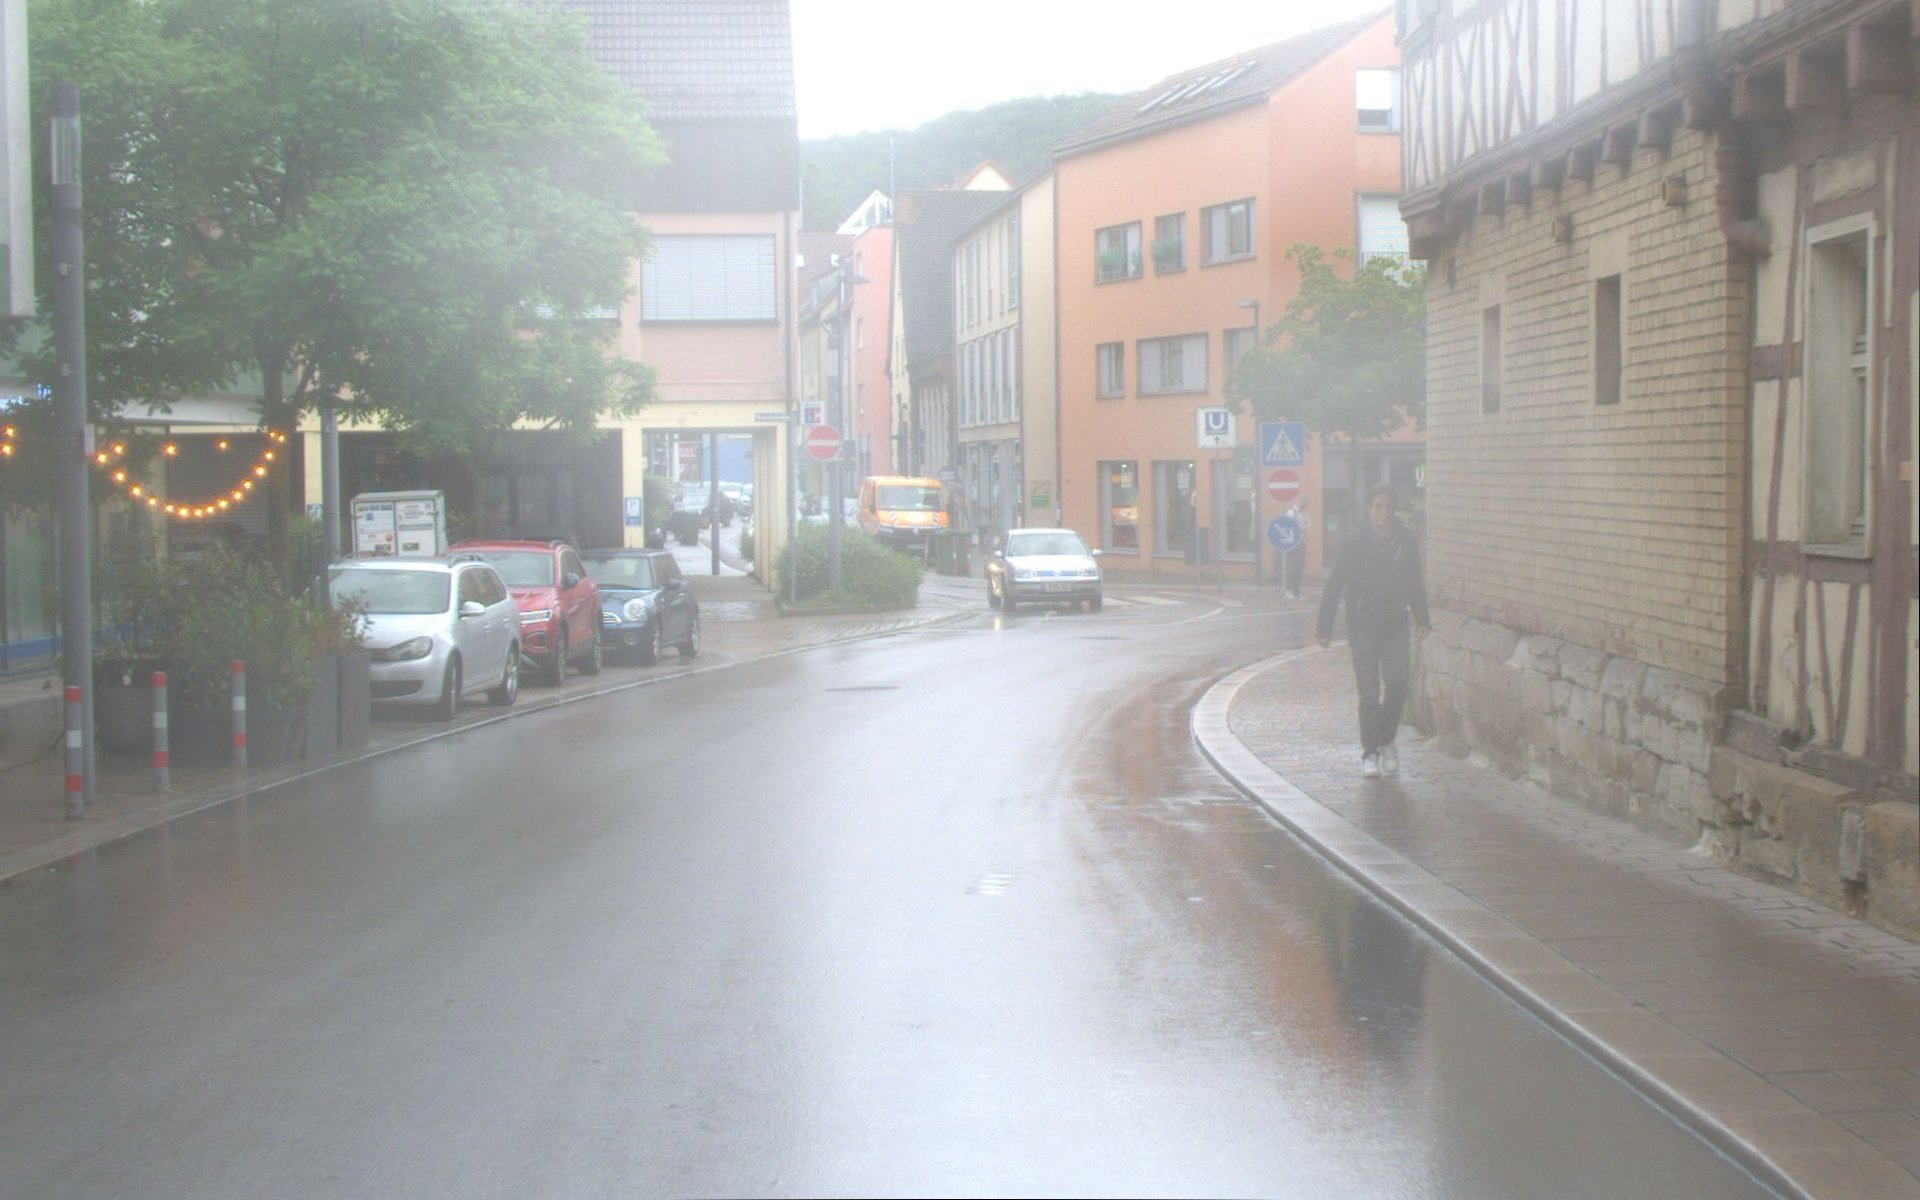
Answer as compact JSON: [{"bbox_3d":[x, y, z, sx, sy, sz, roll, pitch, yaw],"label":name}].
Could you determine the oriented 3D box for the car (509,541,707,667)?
[{"bbox_3d":[-4.386,0.015,43.367,1.715,1.453,3.909,0,2,6],"label":"car"}]

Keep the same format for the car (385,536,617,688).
[{"bbox_3d":[-5.105,0.088,38.707,1.787,1.571,4.107,-1,1,4],"label":"car"}]

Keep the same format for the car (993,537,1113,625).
[{"bbox_3d":[1.623,-0.366,61.091,1.790,1.412,4.029,-3,1,-2],"label":"car"}]

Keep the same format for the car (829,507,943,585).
[{"bbox_3d":[-1.464,-1.065,66.554,1.714,1.453,3.911,0,2,-8],"label":"car"}]

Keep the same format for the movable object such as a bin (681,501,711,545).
[{"bbox_3d":[-8.448,-2.477,109.960,0.834,1.377,0.854,-1,2,-10],"label":"movable object such as a bin"}]

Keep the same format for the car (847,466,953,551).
[{"bbox_3d":[-1.644,-2.441,92.249,2.103,2.139,4.868,-3,2,-9],"label":"car"}]

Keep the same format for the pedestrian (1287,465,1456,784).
[{"bbox_3d":[2.512,0.137,21.078,0.810,1.878,0.908,-3,1,-3],"label":"pedestrian"}]

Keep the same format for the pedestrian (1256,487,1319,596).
[{"bbox_3d":[5.776,-1.040,60.633,0.862,1.908,0.757,0,2,29],"label":"pedestrian"}]

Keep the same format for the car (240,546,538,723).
[{"bbox_3d":[-5.305,0.270,32.498,1.787,1.493,4.454,-1,1,4],"label":"car"}]

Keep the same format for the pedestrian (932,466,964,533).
[{"bbox_3d":[-0.363,-3.058,104.271,0.866,2.006,0.708,-1,2,-9],"label":"pedestrian"}]

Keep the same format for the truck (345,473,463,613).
[{"bbox_3d":[-9.473,-1.009,58.728,1.596,2.055,3.194,-3,6,-4],"label":"truck"}]

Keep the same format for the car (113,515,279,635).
[{"bbox_3d":[-12.791,-0.455,57.787,1.812,1.612,4.002,-1,6,1],"label":"car"}]
